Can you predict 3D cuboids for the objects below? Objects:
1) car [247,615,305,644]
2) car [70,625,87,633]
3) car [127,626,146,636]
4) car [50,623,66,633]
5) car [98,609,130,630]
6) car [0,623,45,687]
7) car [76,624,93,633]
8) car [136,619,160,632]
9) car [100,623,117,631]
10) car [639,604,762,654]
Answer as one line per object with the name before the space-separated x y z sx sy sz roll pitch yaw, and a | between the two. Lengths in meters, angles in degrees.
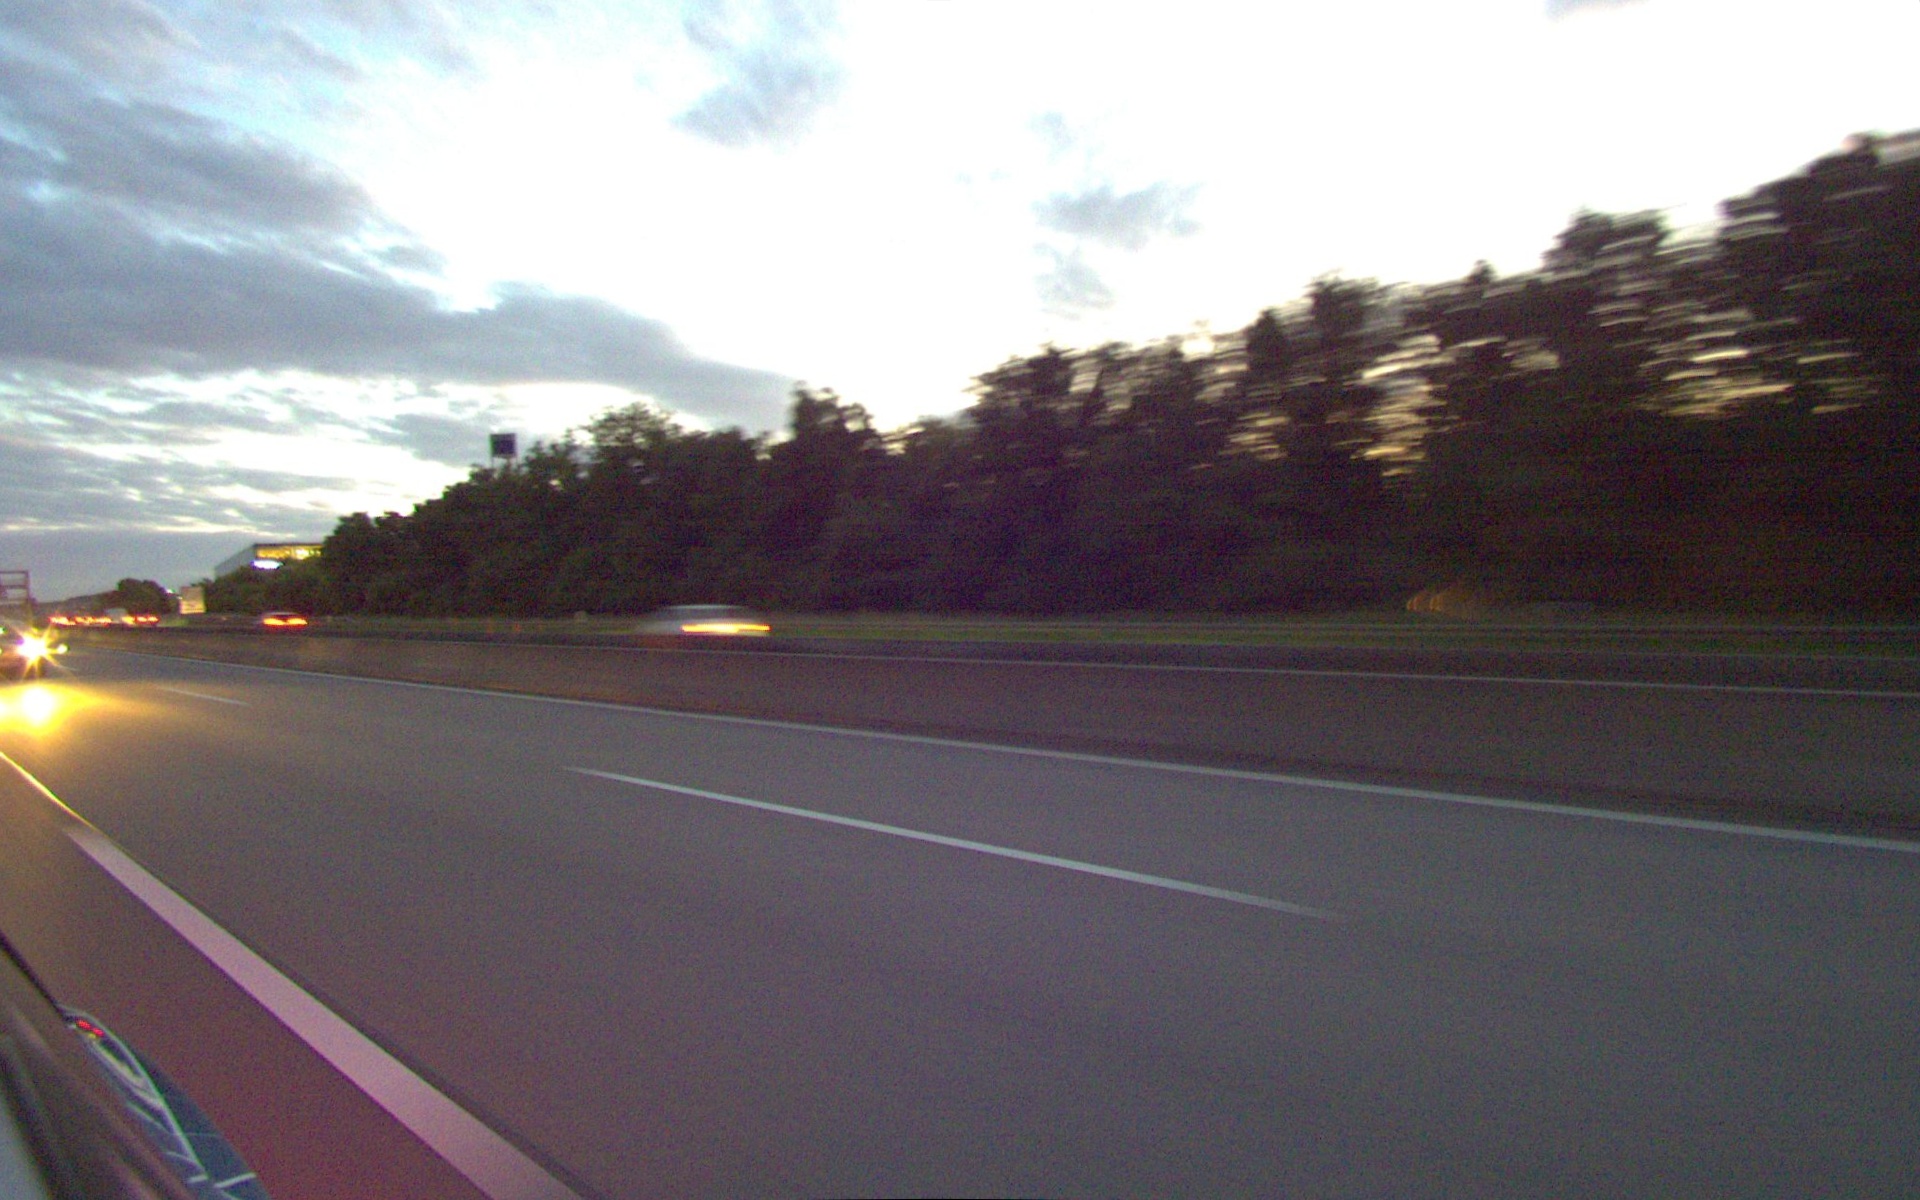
car | -44.095 1.874 65.184 4.839 1.804 1.972 -1 0 42
car | -168.589 5.523 193.546 5.026 1.484 1.971 -1 0 45
car | -132.418 4.947 162.681 4.238 1.471 1.971 -1 0 45
car | -171.547 5.356 192.378 5.053 1.748 1.971 -1 0 45
car | -106.735 2.466 127.614 7.096 2.450 2.300 -1 0 44
car | -24.700 1.371 25.767 3.999 1.491 1.694 -1 0 42
car | -156.531 5.043 180.934 4.560 1.516 1.971 -1 0 45
car | -111.504 3.486 138.945 4.971 1.706 1.971 -1 0 44
car | -159.993 5.053 190.124 5.026 1.412 1.971 -1 0 45
car | -8.264 0.892 32.101 3.833 1.464 1.973 -1 0 41
